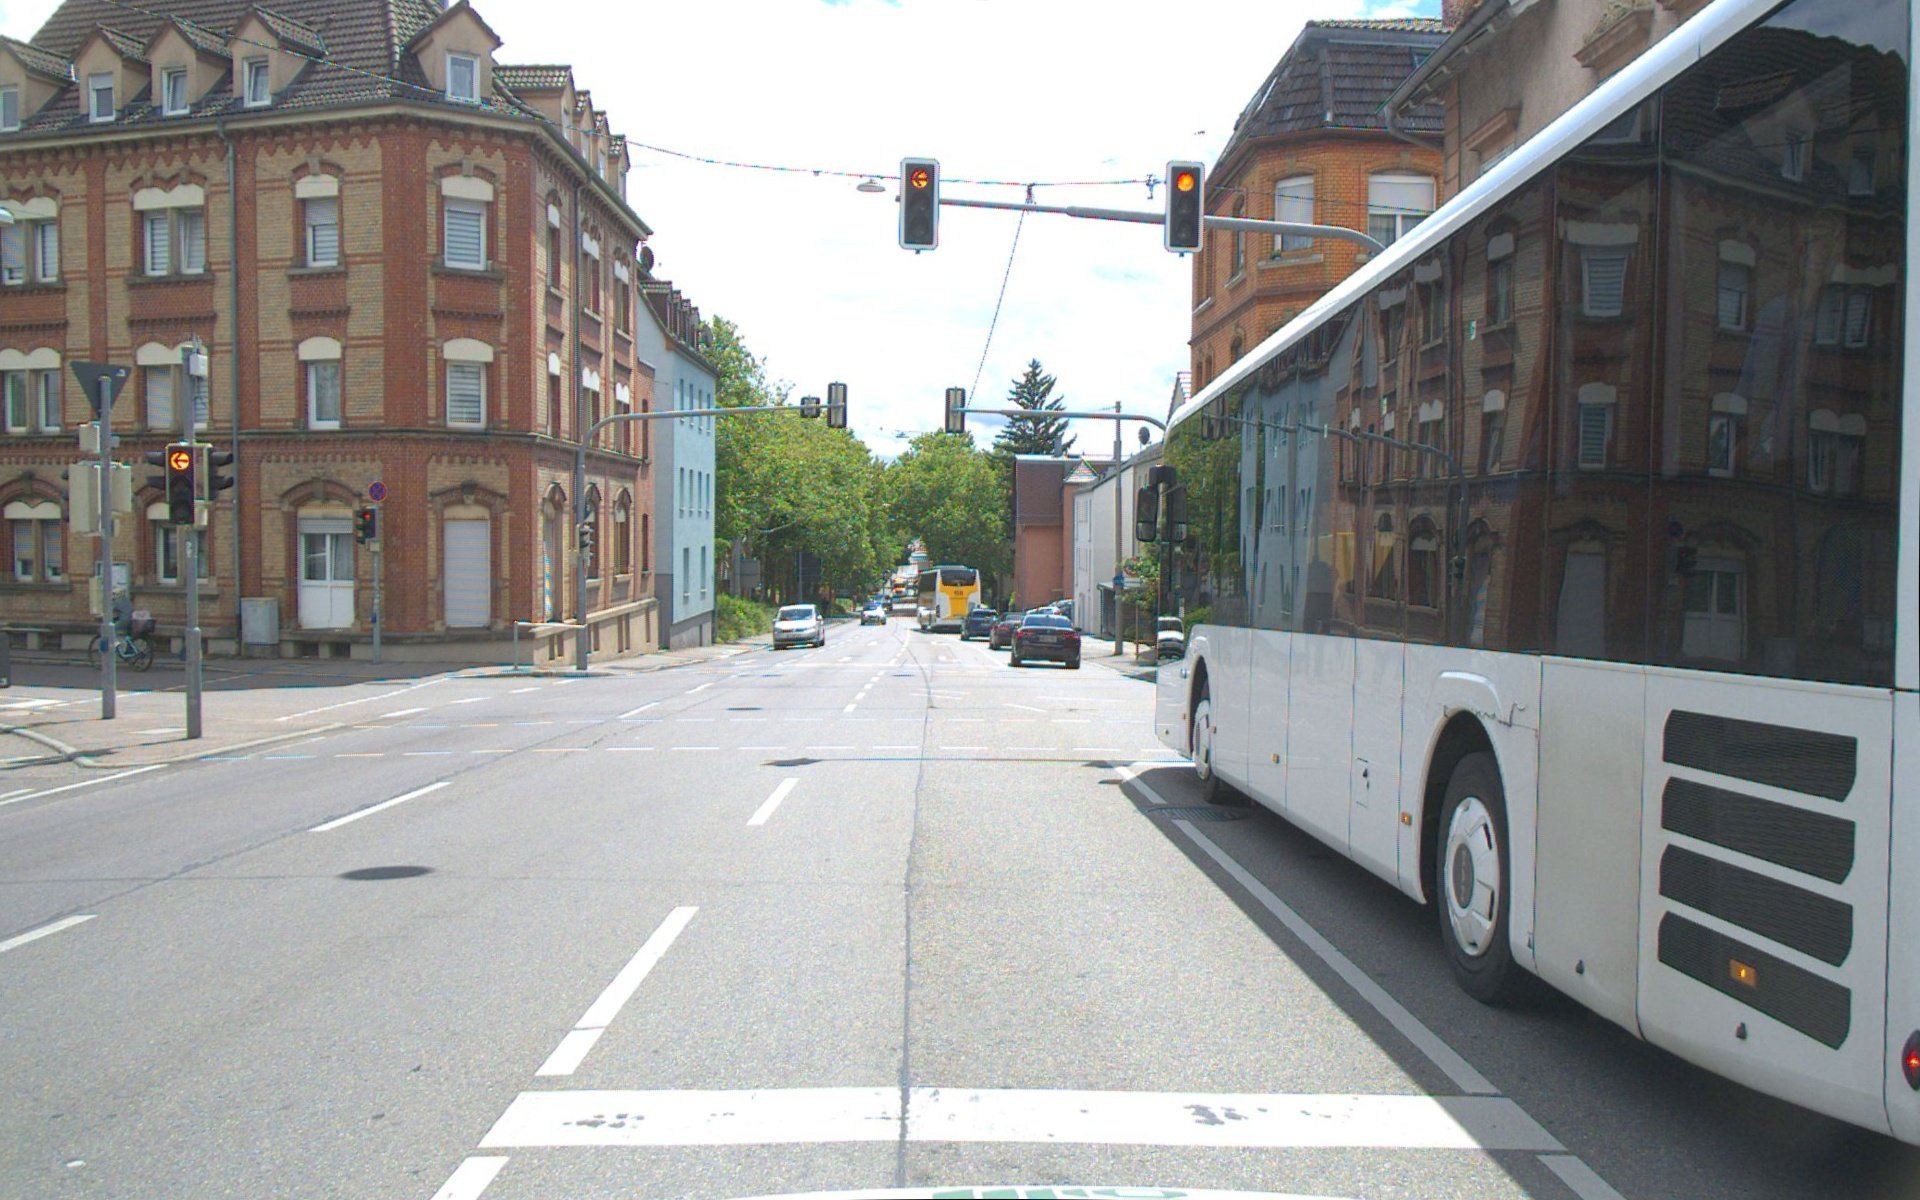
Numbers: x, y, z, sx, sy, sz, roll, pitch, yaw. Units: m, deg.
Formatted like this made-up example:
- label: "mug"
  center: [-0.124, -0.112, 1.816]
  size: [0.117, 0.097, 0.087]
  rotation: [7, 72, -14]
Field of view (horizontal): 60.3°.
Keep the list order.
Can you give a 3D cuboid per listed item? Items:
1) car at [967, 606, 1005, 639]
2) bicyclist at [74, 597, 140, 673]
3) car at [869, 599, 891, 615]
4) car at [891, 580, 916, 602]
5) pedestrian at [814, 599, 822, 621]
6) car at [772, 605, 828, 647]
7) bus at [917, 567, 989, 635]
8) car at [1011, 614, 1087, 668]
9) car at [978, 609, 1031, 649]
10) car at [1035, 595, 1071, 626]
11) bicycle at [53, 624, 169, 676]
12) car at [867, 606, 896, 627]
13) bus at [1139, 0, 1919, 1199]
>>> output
- label: "car"
  center: [1.137, 0.984, 73.962]
  size: [1.576, 1.400, 3.999]
  rotation: [0, 0, -1]
- label: "bicyclist"
  center: [-17.479, 0.716, 33.895]
  size: [1.048, 1.526, 0.590]
  rotation: [0, 0, 7]
- label: "car"
  center: [-8.367, 0.674, 173.756]
  size: [2.162, 1.641, 4.546]
  rotation: [0, 0, -1]
- label: "car"
  center: [-8.419, -1.373, 247.378]
  size: [2.096, 3.124, 5.630]
  rotation: [1, 0, 14]
- label: "pedestrian"
  center: [-11.702, 0.816, 136.489]
  size: [0.594, 1.789, 0.653]
  rotation: [0, 0, -2]
- label: "car"
  center: [-6.348, 1.012, 65.997]
  size: [1.896, 1.591, 4.388]
  rotation: [0, 0, -1]
- label: "bus"
  center: [-0.532, 0.054, 95.963]
  size: [3.236, 3.694, 11.232]
  rotation: [-1, 0, -5]
- label: "car"
  center: [2.338, 1.071, 44.411]
  size: [1.761, 1.298, 3.999]
  rotation: [-1, 0, -1]
- label: "car"
  center: [1.640, 1.074, 62.190]
  size: [1.827, 1.391, 4.546]
  rotation: [0, 0, -1]
- label: "car"
  center: [5.222, 0.573, 93.380]
  size: [1.731, 1.695, 3.999]
  rotation: [0, 0, -1]
- label: "bicycle"
  center: [-17.375, 1.025, 33.877]
  size: [2.138, 1.037, 0.606]
  rotation: [0, 0, 7]
- label: "car"
  center: [-5.410, 1.157, 114.419]
  size: [1.827, 1.391, 4.546]
  rotation: [0, 0, -1]
- label: "bus"
  center: [3.226, -0.216, 9.307]
  size: [2.845, 3.571, 12.484]
  rotation: [1, 0, -1]
